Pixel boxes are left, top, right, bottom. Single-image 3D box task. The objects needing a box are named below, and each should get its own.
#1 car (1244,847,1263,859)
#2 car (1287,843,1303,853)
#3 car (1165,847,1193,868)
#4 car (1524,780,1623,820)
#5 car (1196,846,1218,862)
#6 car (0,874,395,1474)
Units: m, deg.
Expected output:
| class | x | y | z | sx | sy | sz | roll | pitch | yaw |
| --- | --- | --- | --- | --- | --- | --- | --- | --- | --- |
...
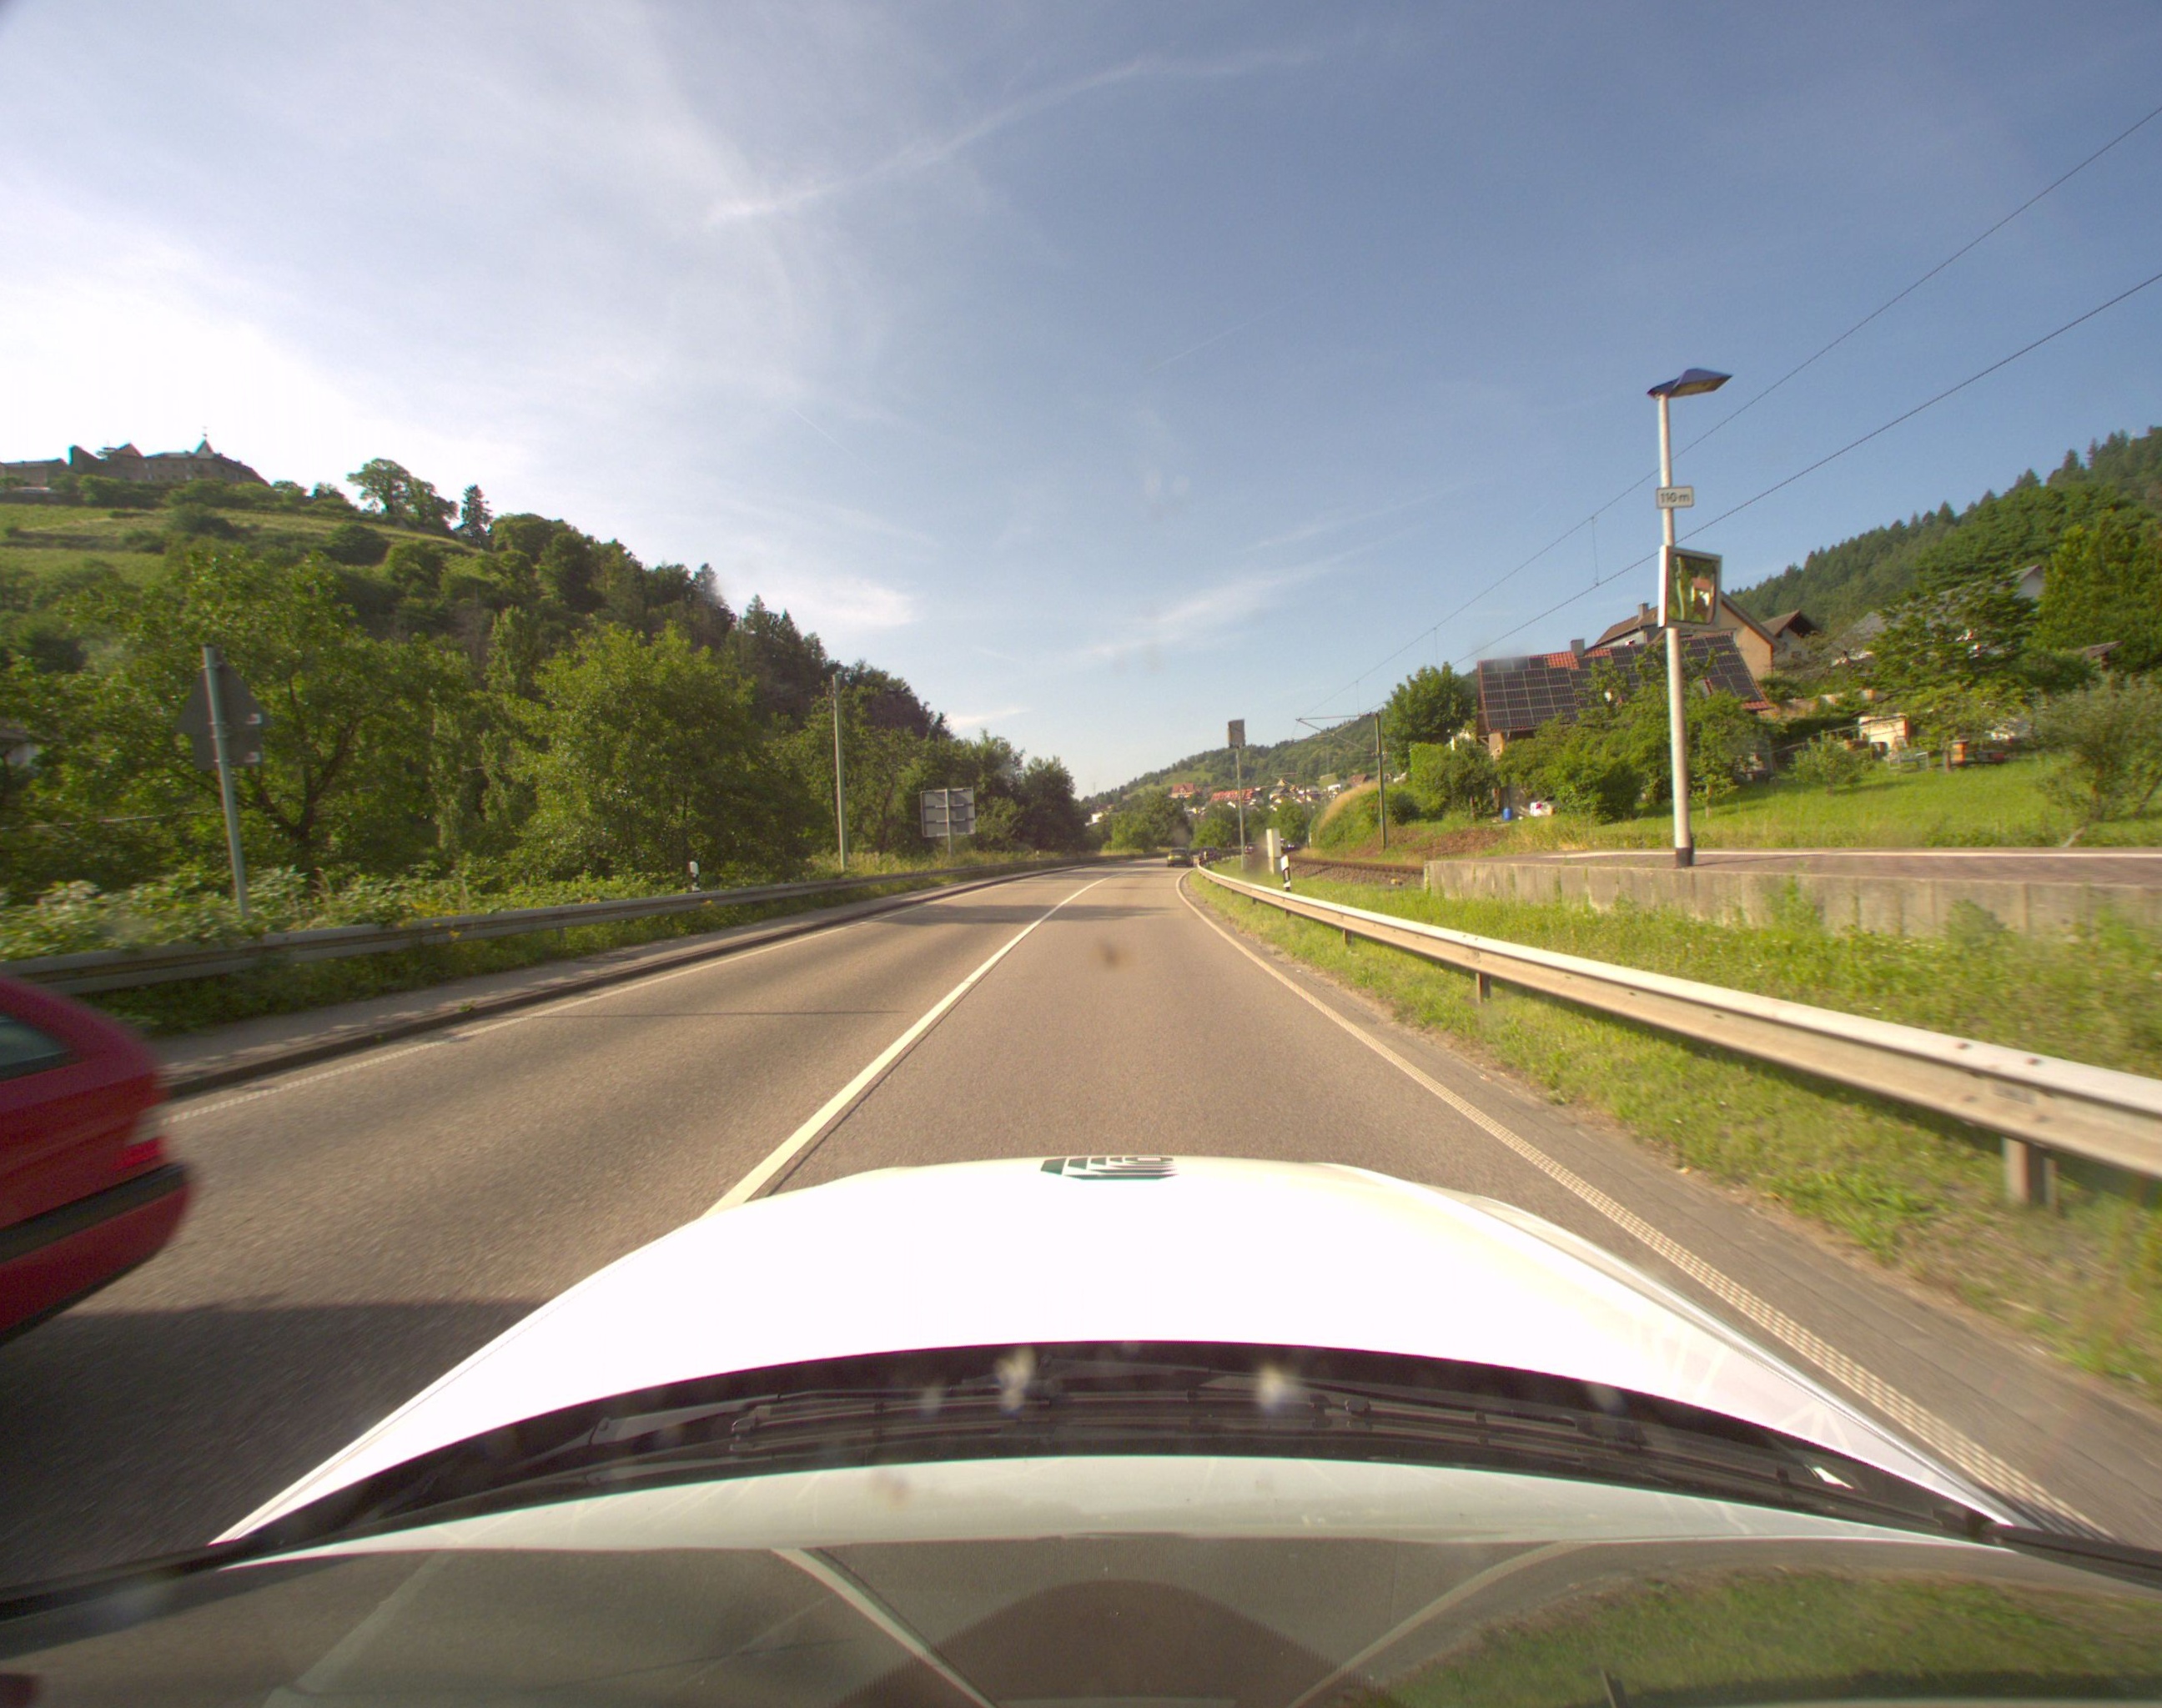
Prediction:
| class | x | y | z | sx | sy | sz | roll | pitch | yaw |
| --- | --- | --- | --- | --- | --- | --- | --- | --- | --- |
| car | 23.271 | -0.179 | 109.711 | 1.791 | 1.453 | 3.667 | -4 | 0 | 22 |
| car | 34.870 | -0.932 | 132.719 | 1.792 | 1.408 | 3.795 | -4 | 0 | 25 |
| car | 7.640 | 0.281 | 63.337 | 1.716 | 1.457 | 3.423 | -4 | 0 | 13 |
| car | 25.543 | -2.768 | 42.387 | 3.956 | 1.684 | 2.009 | -4 | 0 | 16 |
| car | 12.921 | -0.005 | 83.165 | 1.827 | 1.459 | 3.727 | -4 | 0 | 14 |
| car | -3.663 | 0.819 | 0.702 | 1.835 | 1.469 | 4.946 | 0 | 0 | 2 |
